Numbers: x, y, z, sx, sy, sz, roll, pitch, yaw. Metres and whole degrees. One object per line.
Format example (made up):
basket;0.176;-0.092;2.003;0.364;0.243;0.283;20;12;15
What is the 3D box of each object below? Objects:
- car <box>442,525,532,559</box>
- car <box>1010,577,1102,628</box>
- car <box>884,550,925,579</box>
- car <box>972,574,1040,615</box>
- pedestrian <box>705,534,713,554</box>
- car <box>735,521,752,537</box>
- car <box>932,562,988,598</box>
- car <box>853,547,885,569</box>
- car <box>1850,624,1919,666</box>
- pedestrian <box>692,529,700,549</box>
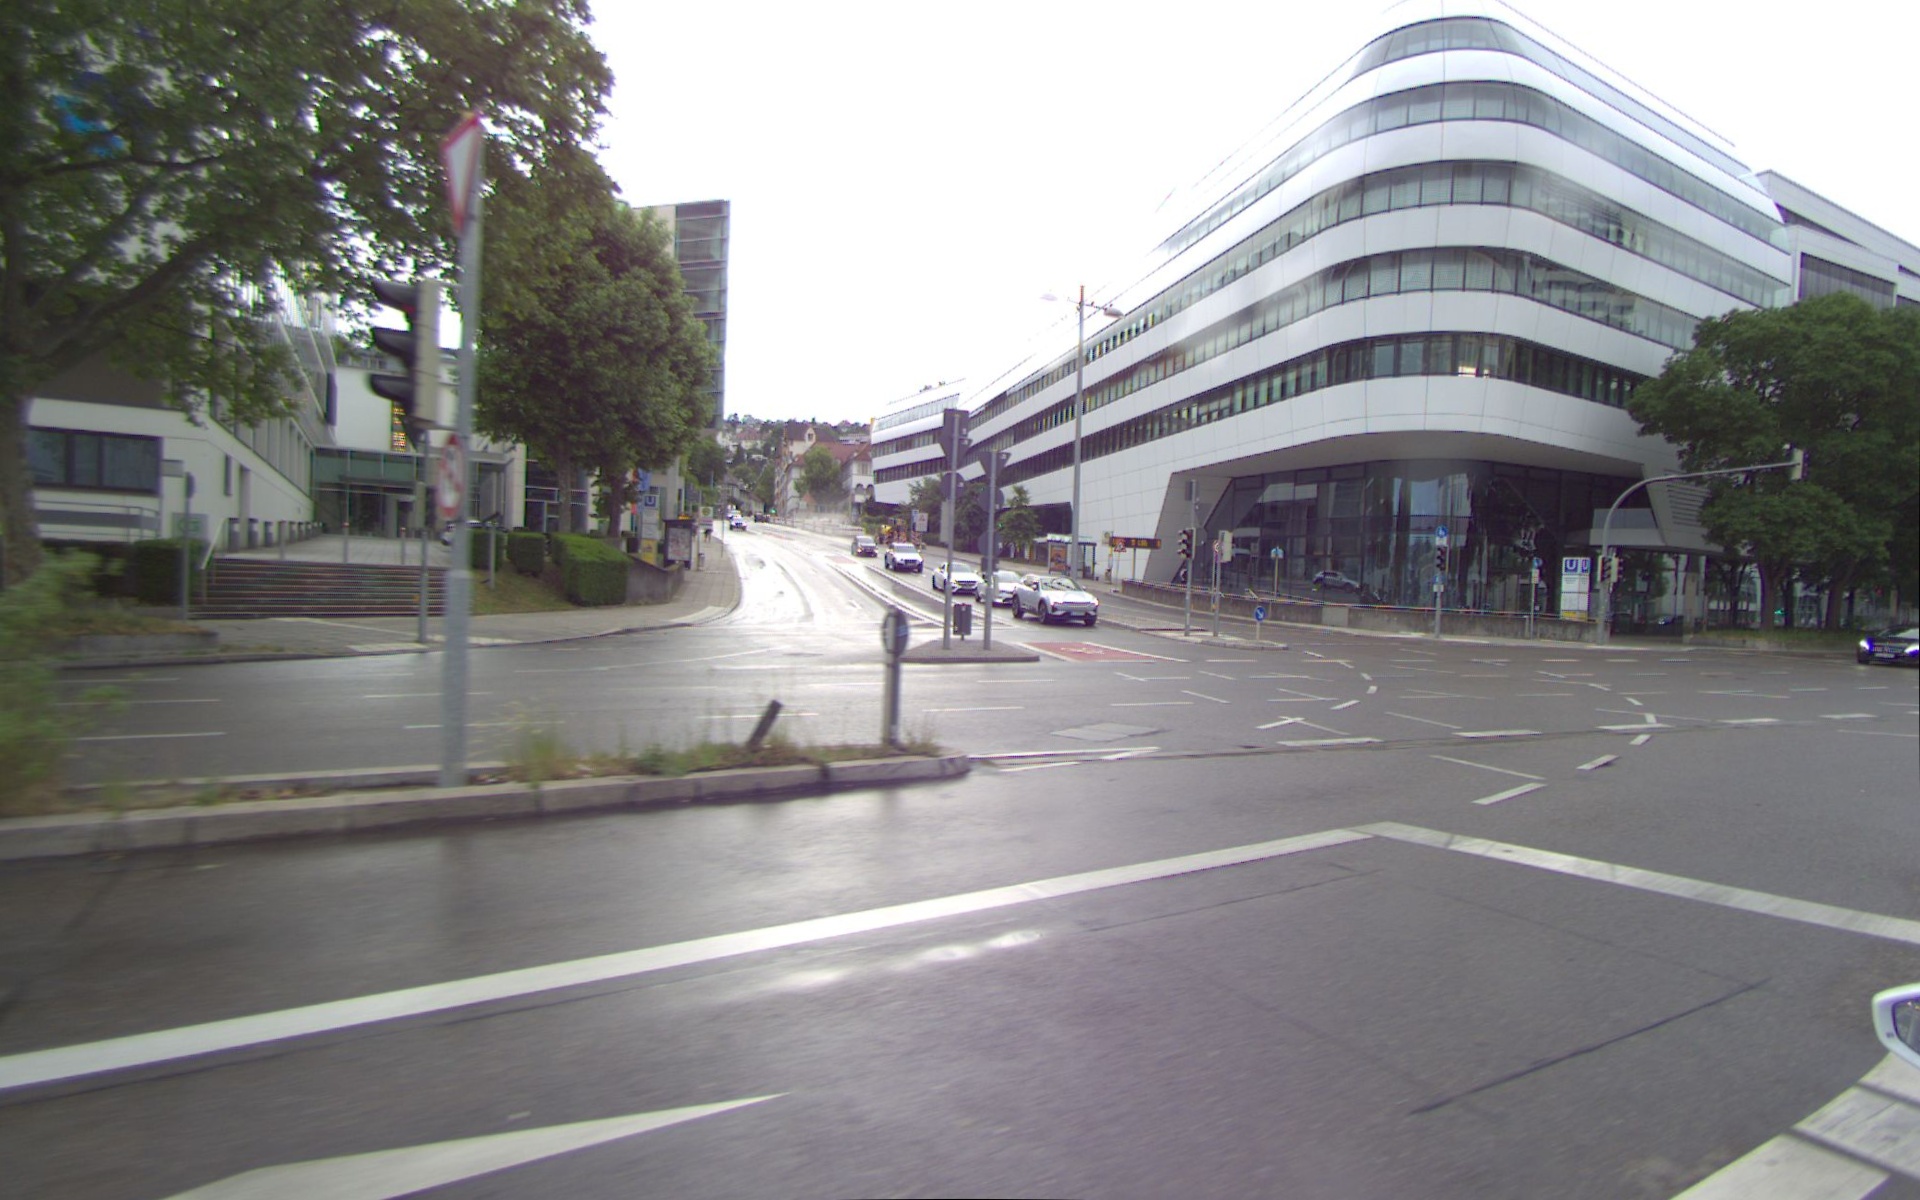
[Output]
car;-23.199;-2.816;49.285;3.836;1.428;1.518;2;0;-31
car;3.336;0.082;35.799;1.862;1.653;4.504;2;0;-13
car;-3.587;-2.289;64.053;1.862;1.653;3.988;2;3;-13
car;1.937;-0.224;43.496;1.862;1.653;3.989;2;0;-13
pedestrian;-21.479;-4.814;85.968;0.586;1.632;0.686;2;0;-18
car;-26.272;-8.639;121.966;1.816;1.684;3.987;2;6;-14
car;-0.034;-1.027;49.825;1.862;1.653;3.989;2;1;-13
car;-7.209;-3.295;79.230;1.862;1.653;3.989;2;1;-13
car;33.149;1.564;35.195;4.176;1.346;1.735;2;0;-30
pedestrian;-22.517;-5.168;85.562;0.586;1.632;0.686;2;0;-18
